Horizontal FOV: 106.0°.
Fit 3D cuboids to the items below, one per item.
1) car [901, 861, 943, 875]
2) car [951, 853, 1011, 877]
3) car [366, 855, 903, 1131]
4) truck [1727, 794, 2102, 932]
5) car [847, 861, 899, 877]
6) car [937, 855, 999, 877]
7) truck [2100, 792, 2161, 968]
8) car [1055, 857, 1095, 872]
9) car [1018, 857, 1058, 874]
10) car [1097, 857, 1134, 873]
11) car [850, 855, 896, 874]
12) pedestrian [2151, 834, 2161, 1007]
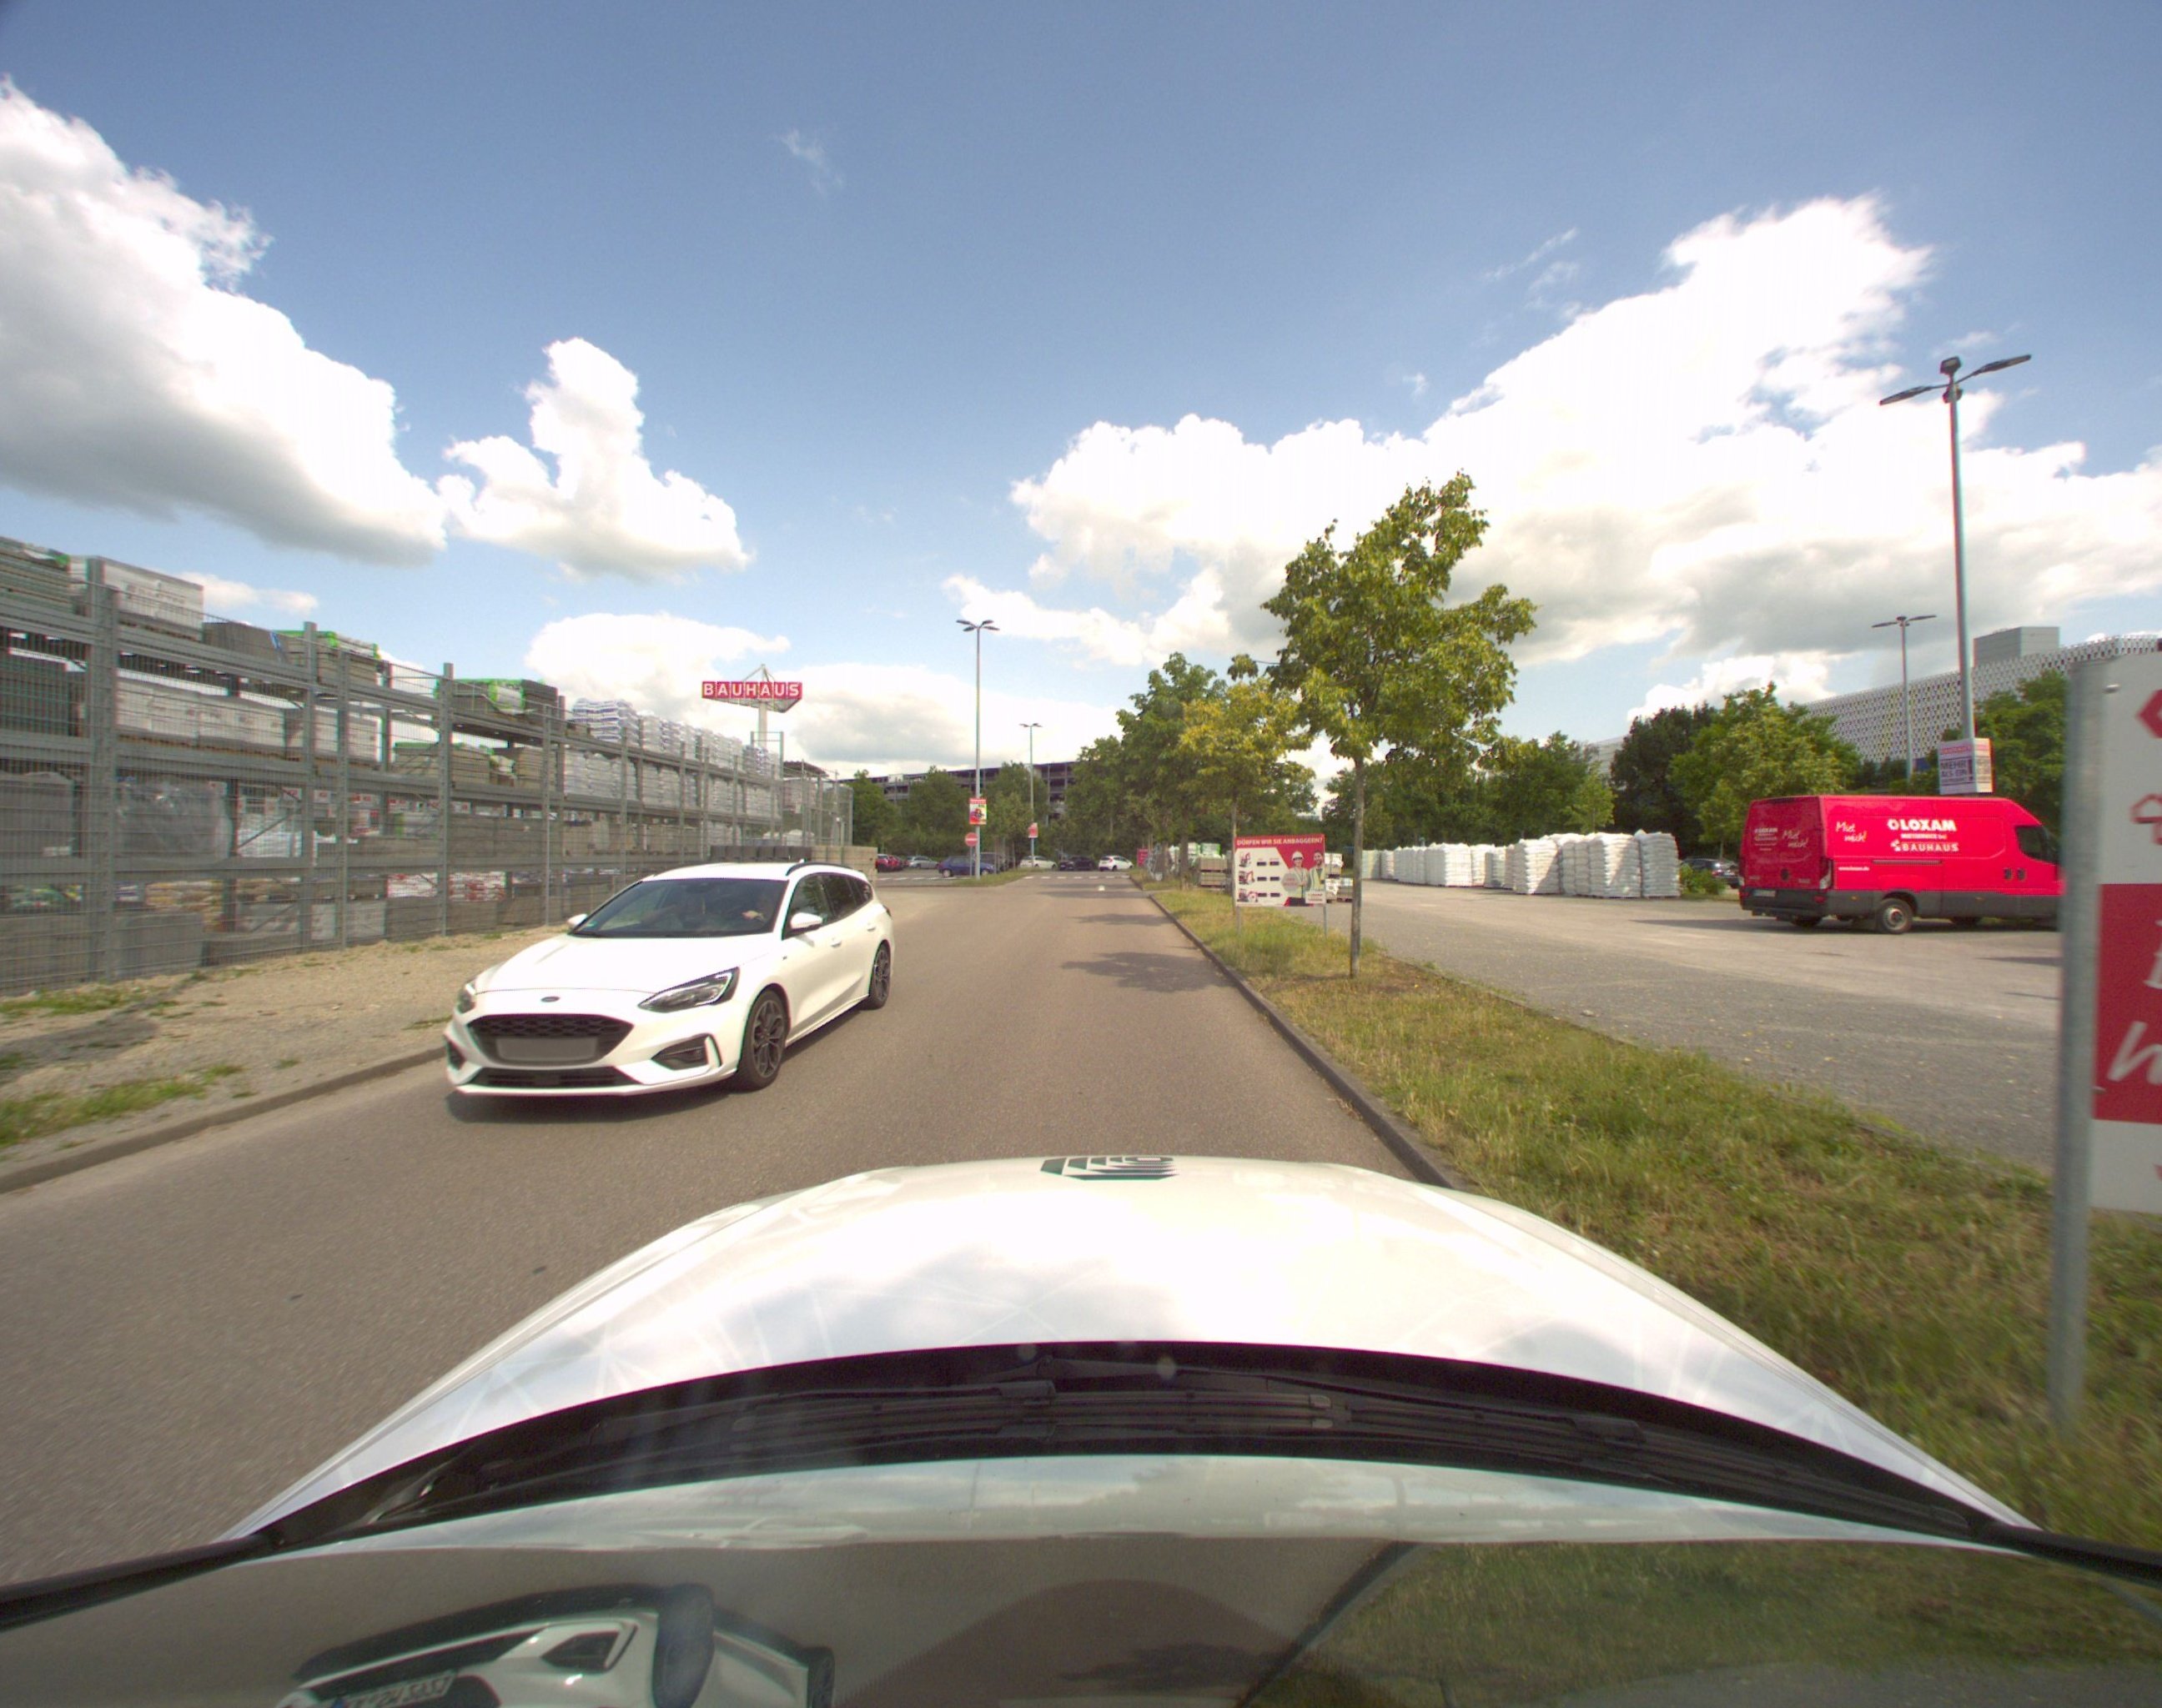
[{"bbox_3d":[-17.622,1.562,90.291,1.761,1.504,4.684,0,-1,35],"label":"car"},{"bbox_3d":[-7.054,0.785,57.444,3.933,1.624,1.737,0,-1,3],"label":"car"},{"bbox_3d":[-2.877,0.747,6.543,1.797,1.464,4.331,0,0,2],"label":"car"},{"bbox_3d":[16.341,0.156,16.179,5.412,2.515,2.115,0,0,-2],"label":"truck"},{"bbox_3d":[-18.045,1.274,70.749,4.063,1.399,1.766,0,-1,-1],"label":"car"},{"bbox_3d":[-7.225,0.782,52.382,3.737,1.368,1.621,0,0,1],"label":"car"},{"bbox_3d":[16.812,0.316,10.093,5.828,2.255,2.172,0,0,-2],"label":"truck"},{"bbox_3d":[-0.566,1.013,78.457,1.711,1.410,4.270,-1,-1,36],"label":"car"},{"bbox_3d":[-4.285,1.128,81.265,1.668,1.510,4.107,-4,-3,39],"label":"car"},{"bbox_3d":[3.221,1.006,75.591,1.649,1.411,3.579,-1,-1,40],"label":"car"},{"bbox_3d":[-17.417,0.895,68.388,3.426,1.581,1.709,0,-1,-1],"label":"car"},{"bbox_3d":[10.820,0.639,7.545,0.596,1.692,0.880,-1,-1,3],"label":"pedestrian"}]
